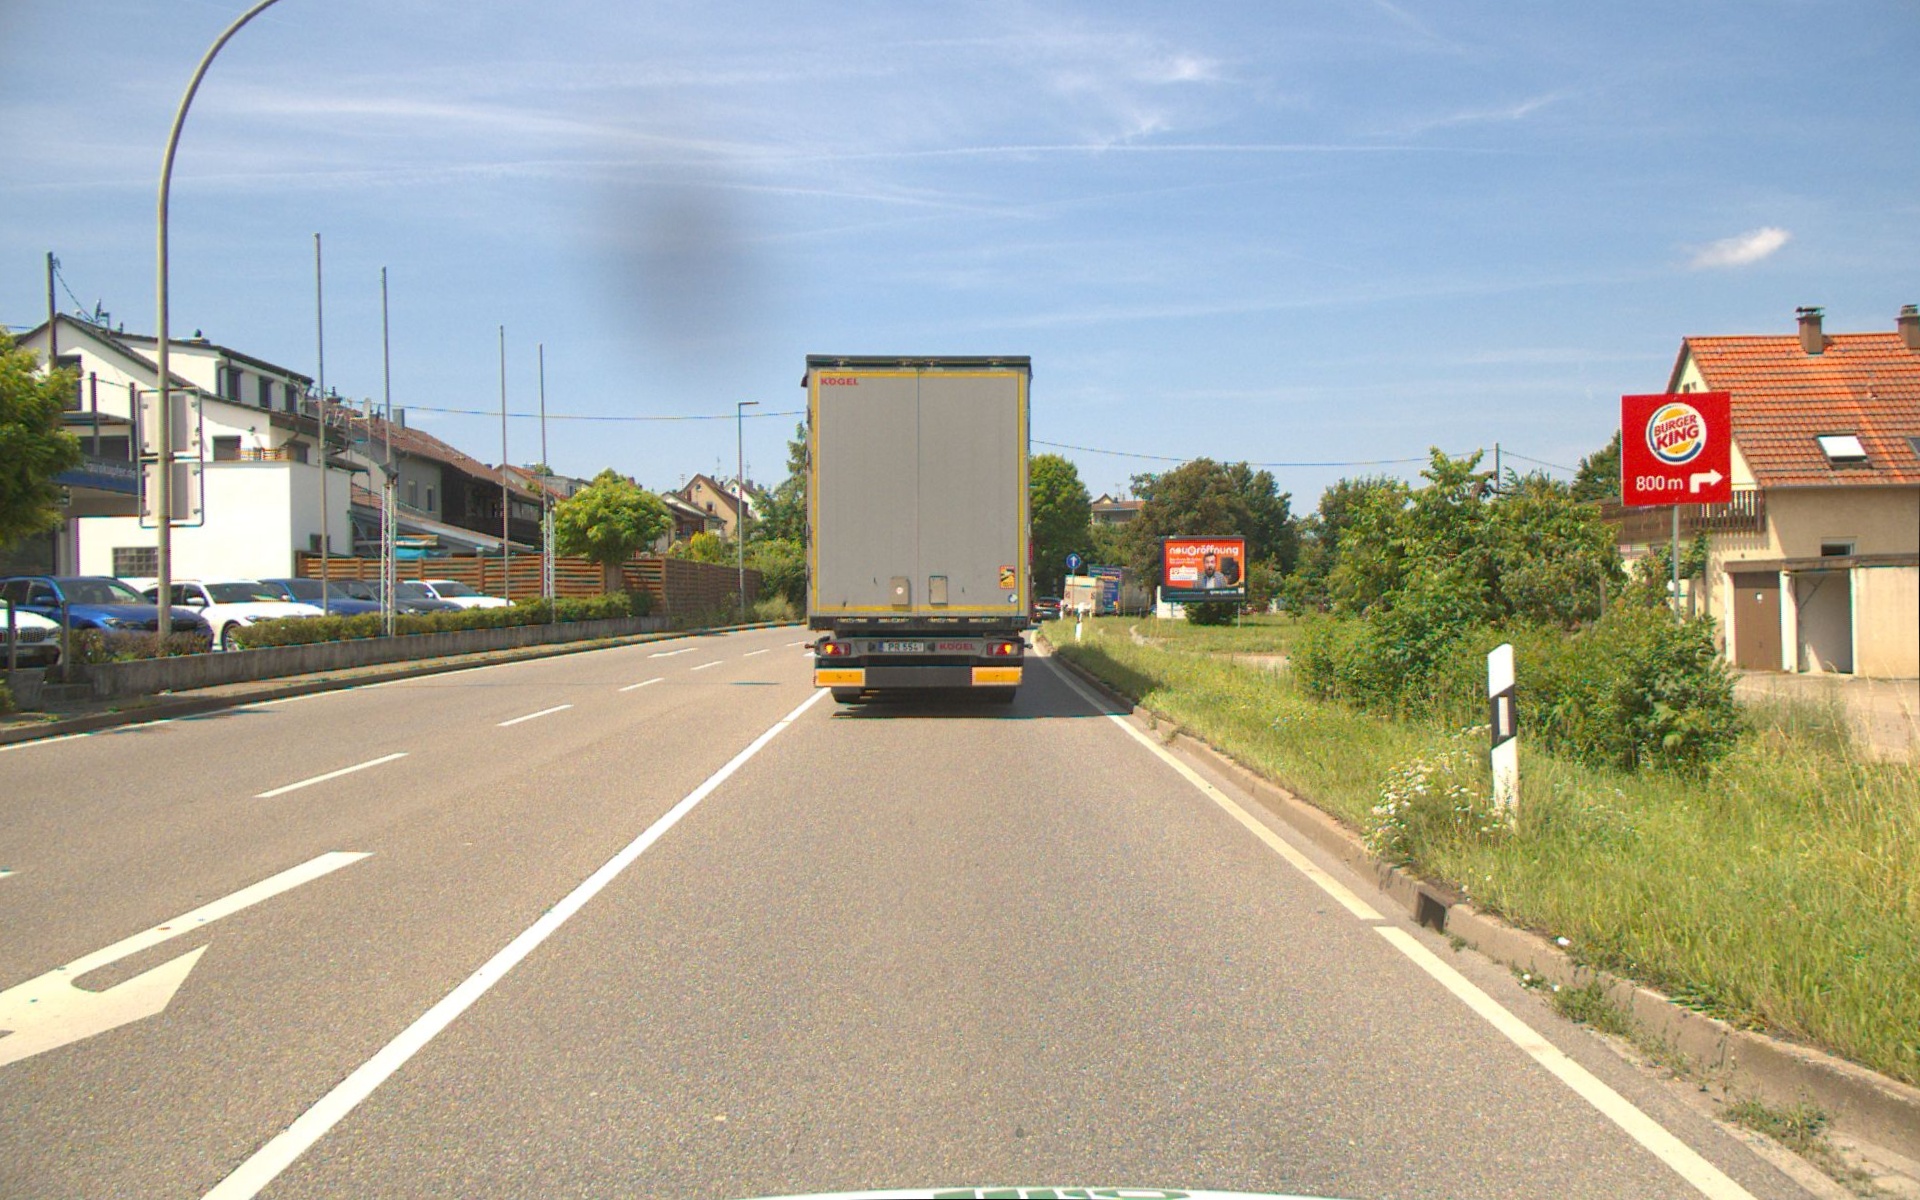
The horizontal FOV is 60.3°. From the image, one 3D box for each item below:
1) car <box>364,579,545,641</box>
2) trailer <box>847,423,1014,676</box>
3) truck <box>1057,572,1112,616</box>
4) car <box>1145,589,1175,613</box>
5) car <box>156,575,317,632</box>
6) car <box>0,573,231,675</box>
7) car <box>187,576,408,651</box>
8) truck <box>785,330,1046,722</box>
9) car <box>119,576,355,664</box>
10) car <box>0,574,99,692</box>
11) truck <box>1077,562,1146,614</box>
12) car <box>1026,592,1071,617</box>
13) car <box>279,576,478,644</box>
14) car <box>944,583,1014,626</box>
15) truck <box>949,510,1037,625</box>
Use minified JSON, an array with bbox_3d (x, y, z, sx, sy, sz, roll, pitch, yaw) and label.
[{"bbox_3d":[-12.808,0.242,41.899,4.243,1.473,1.855,1,-1,26],"label":"car"},{"bbox_3d":[-0.486,-0.863,30.722,2.767,4.182,6.544,0,0,0],"label":"trailer"},{"bbox_3d":[8.365,-0.349,110.576,2.489,2.852,6.036,1,-1,15],"label":"truck"},{"bbox_3d":[17.303,0.094,143.153,1.951,2.049,4.002,1,-1,17],"label":"car"},{"bbox_3d":[-20.603,0.086,47.140,3.902,1.536,1.836,1,1,14],"label":"car"},{"bbox_3d":[-13.492,0.339,25.613,4.247,1.473,1.854,1,-1,30],"label":"car"},{"bbox_3d":[-13.839,0.273,34.549,4.242,1.473,1.856,1,-1,25],"label":"car"},{"bbox_3d":[-0.480,-0.828,23.641,2.764,4.200,11.443,1,0,0],"label":"truck"},{"bbox_3d":[-13.342,0.324,30.448,4.421,1.473,1.852,1,1,33],"label":"car"},{"bbox_3d":[-13.770,0.404,22.128,4.480,1.473,1.854,1,-1,30],"label":"car"},{"bbox_3d":[11.270,-0.942,122.513,3.360,3.667,9.360,1,1,16],"label":"truck"},{"bbox_3d":[5.180,0.277,96.772,1.951,1.400,4.003,1,0,13],"label":"car"},{"bbox_3d":[-13.438,0.219,38.204,4.243,1.473,1.897,1,-1,26],"label":"car"},{"bbox_3d":[0.659,0.161,54.511,1.780,1.370,3.850,1,0,9],"label":"car"},{"bbox_3d":[1.644,-1.166,71.109,2.702,4.364,16.424,1,0,5],"label":"truck"}]
